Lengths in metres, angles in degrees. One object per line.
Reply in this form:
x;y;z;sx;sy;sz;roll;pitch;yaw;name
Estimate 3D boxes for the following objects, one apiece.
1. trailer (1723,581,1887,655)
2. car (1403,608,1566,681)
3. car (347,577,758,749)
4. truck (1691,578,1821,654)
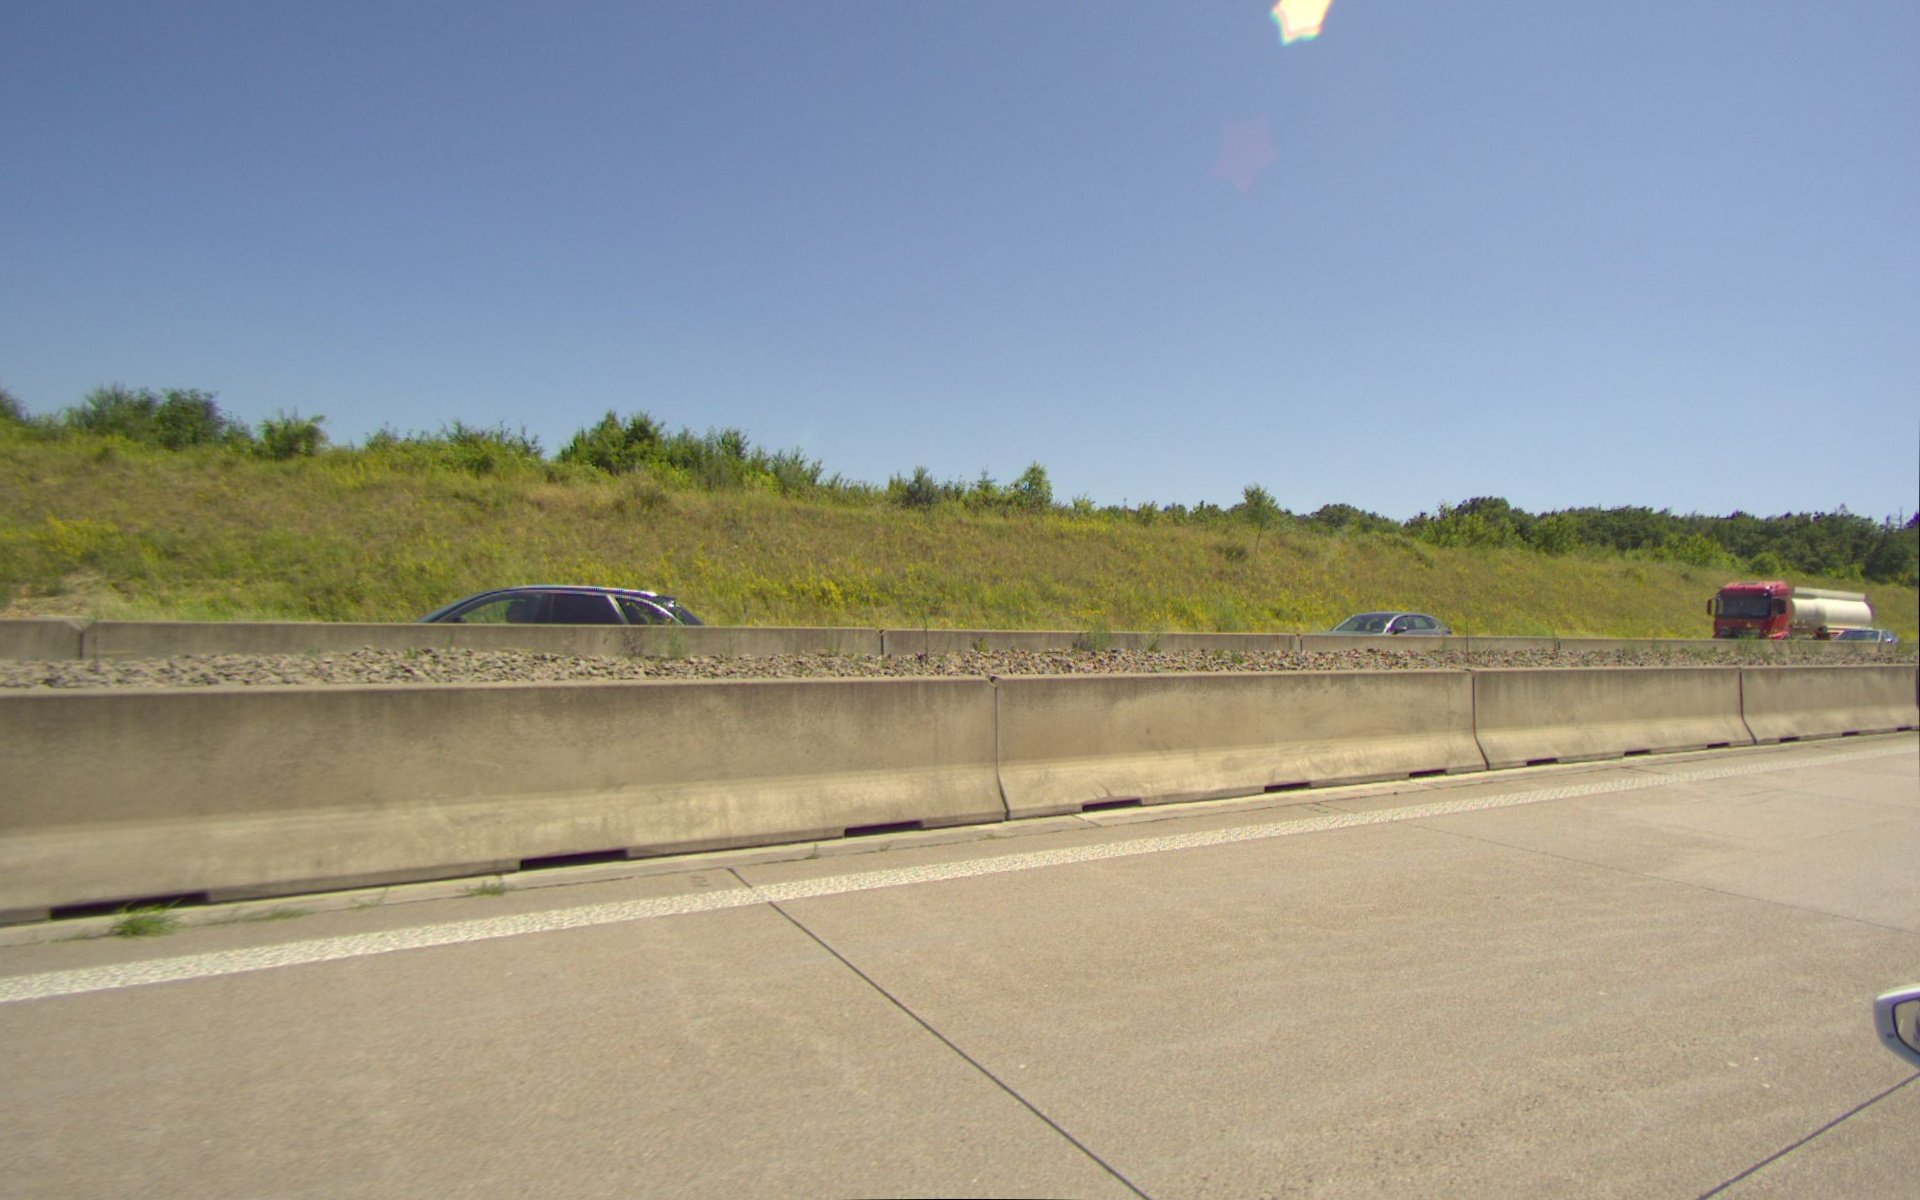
42.570;0.971;50.440;11.705;3.258;2.916;2;2;-33;trailer
13.438;1.110;25.706;3.956;1.739;1.983;2;-1;-32;car
-4.509;0.636;11.276;3.953;1.606;1.984;2;0;-30;car
37.228;0.767;46.926;5.842;3.258;2.916;2;2;-33;truck
